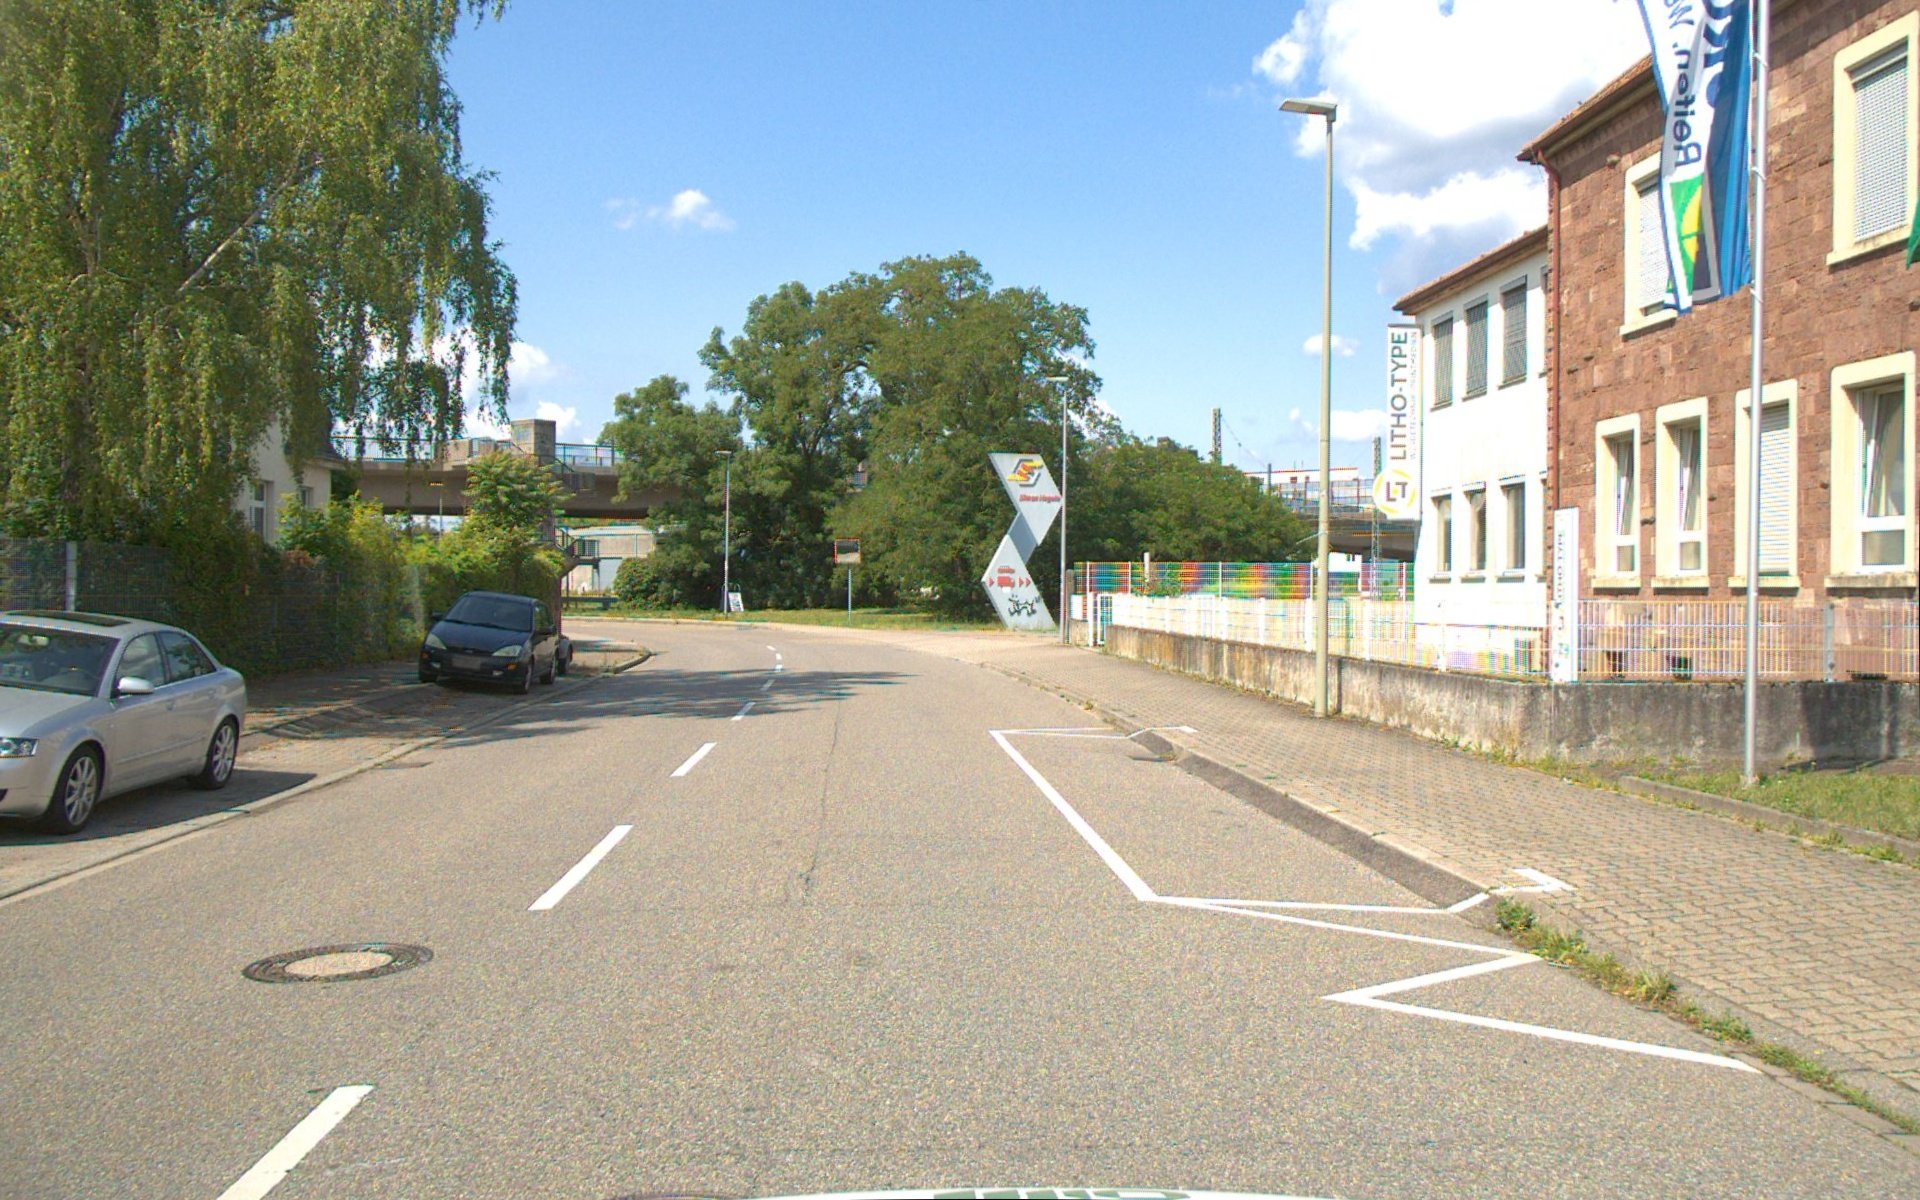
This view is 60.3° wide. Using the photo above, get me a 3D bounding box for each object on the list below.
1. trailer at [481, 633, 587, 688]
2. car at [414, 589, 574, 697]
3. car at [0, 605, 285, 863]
[{"bbox_3d":[-8.128,1.143,31.717,1.435,0.865,2.465,5,0,-3],"label":"trailer"},{"bbox_3d":[-7.604,0.676,27.344,1.649,1.538,4.153,4,-1,-4],"label":"car"},{"bbox_3d":[-6.947,0.866,12.860,1.690,1.503,4.627,4,0,-4],"label":"car"}]
